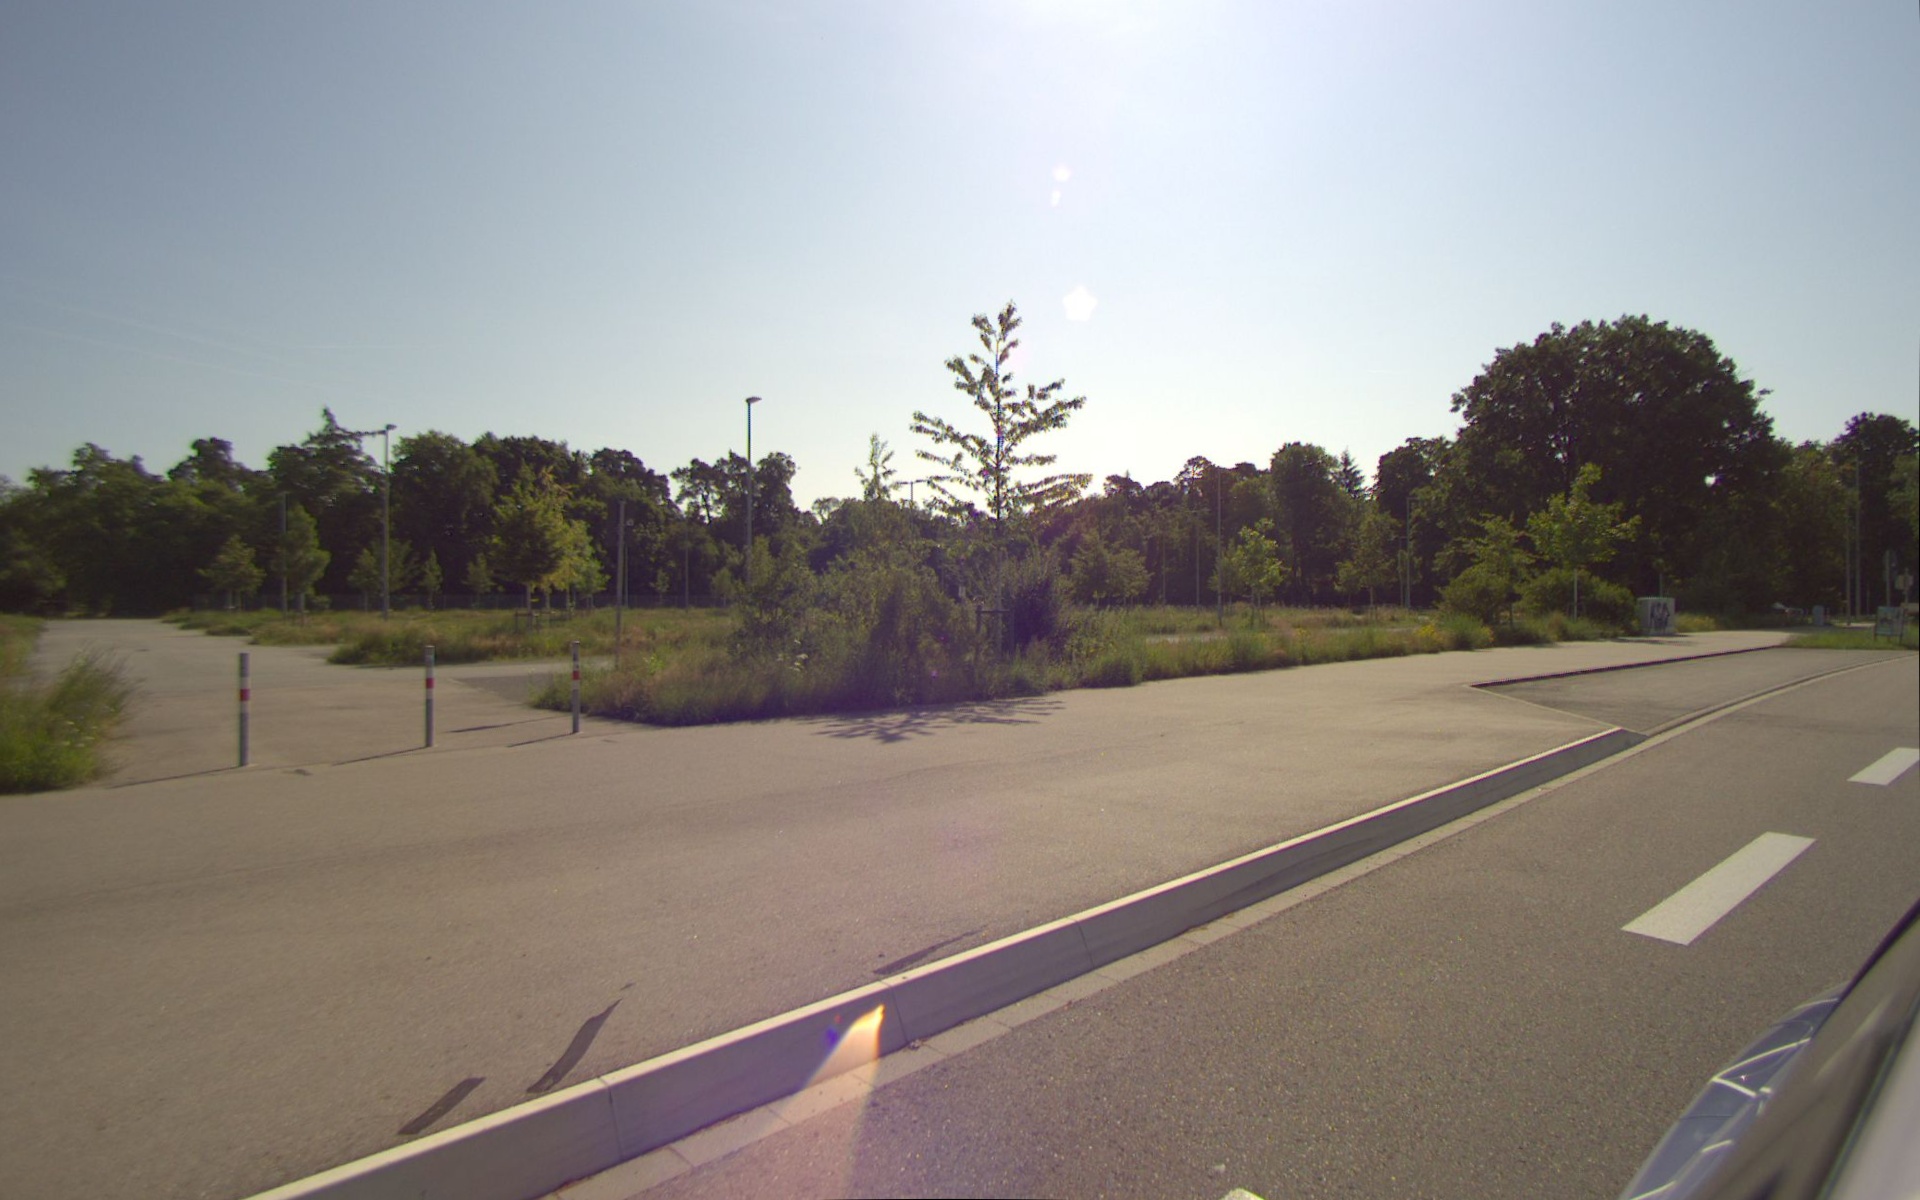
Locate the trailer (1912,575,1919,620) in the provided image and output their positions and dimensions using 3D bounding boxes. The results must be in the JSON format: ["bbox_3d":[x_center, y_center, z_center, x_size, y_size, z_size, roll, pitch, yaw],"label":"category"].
[{"bbox_3d":[58.972,-0.176,58.562,2.665,2.722,6.854,0,0,16],"label":"trailer"}]
